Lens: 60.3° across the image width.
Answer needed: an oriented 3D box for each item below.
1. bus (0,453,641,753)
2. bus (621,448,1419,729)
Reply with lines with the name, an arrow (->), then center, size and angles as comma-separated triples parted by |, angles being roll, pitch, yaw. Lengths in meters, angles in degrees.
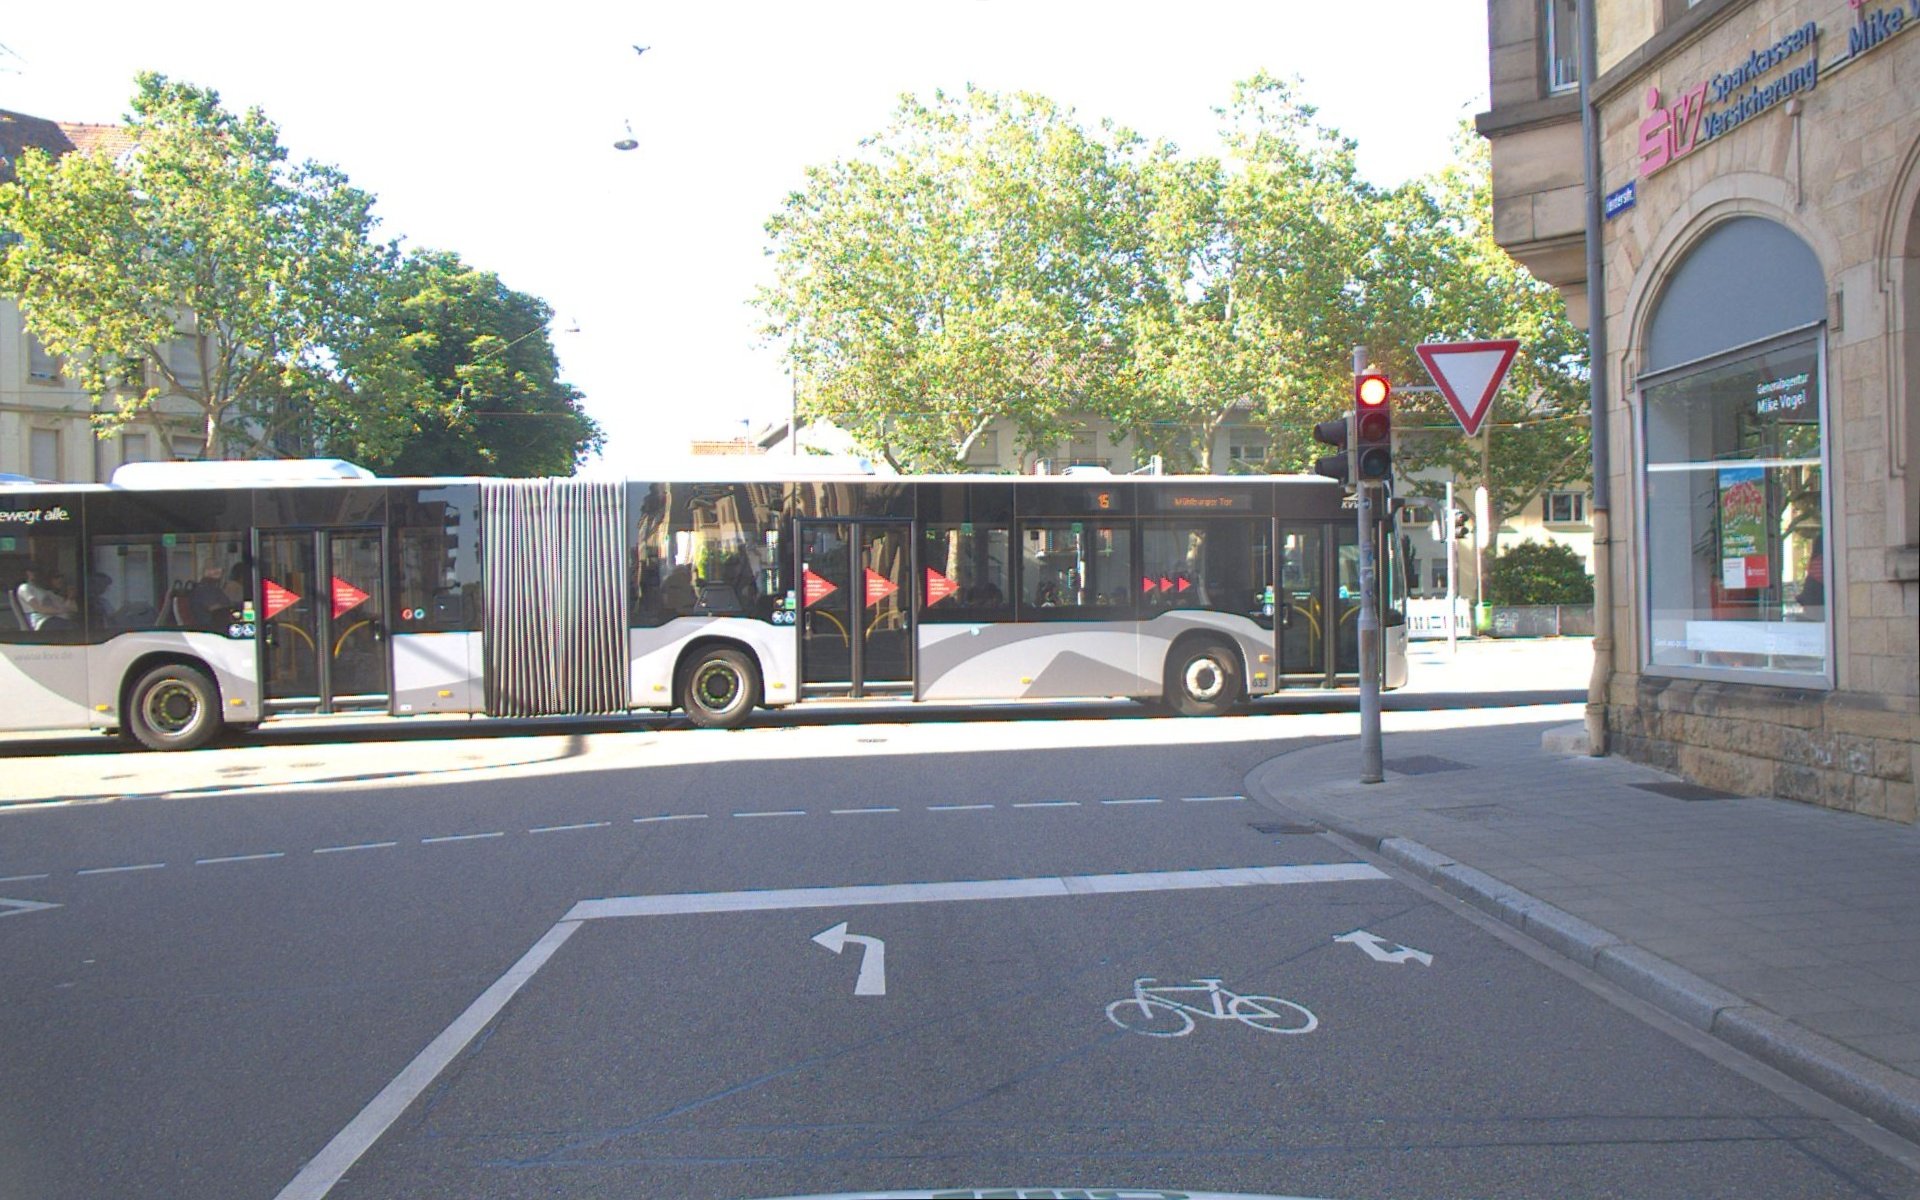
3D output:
bus -> -8.194, 0.003, 19.173 | 8.660, 3.150, 2.740 | -1, 0, -9
bus -> 0.685, -0.197, 20.649 | 9.443, 3.150, 2.740 | -1, 0, -9
